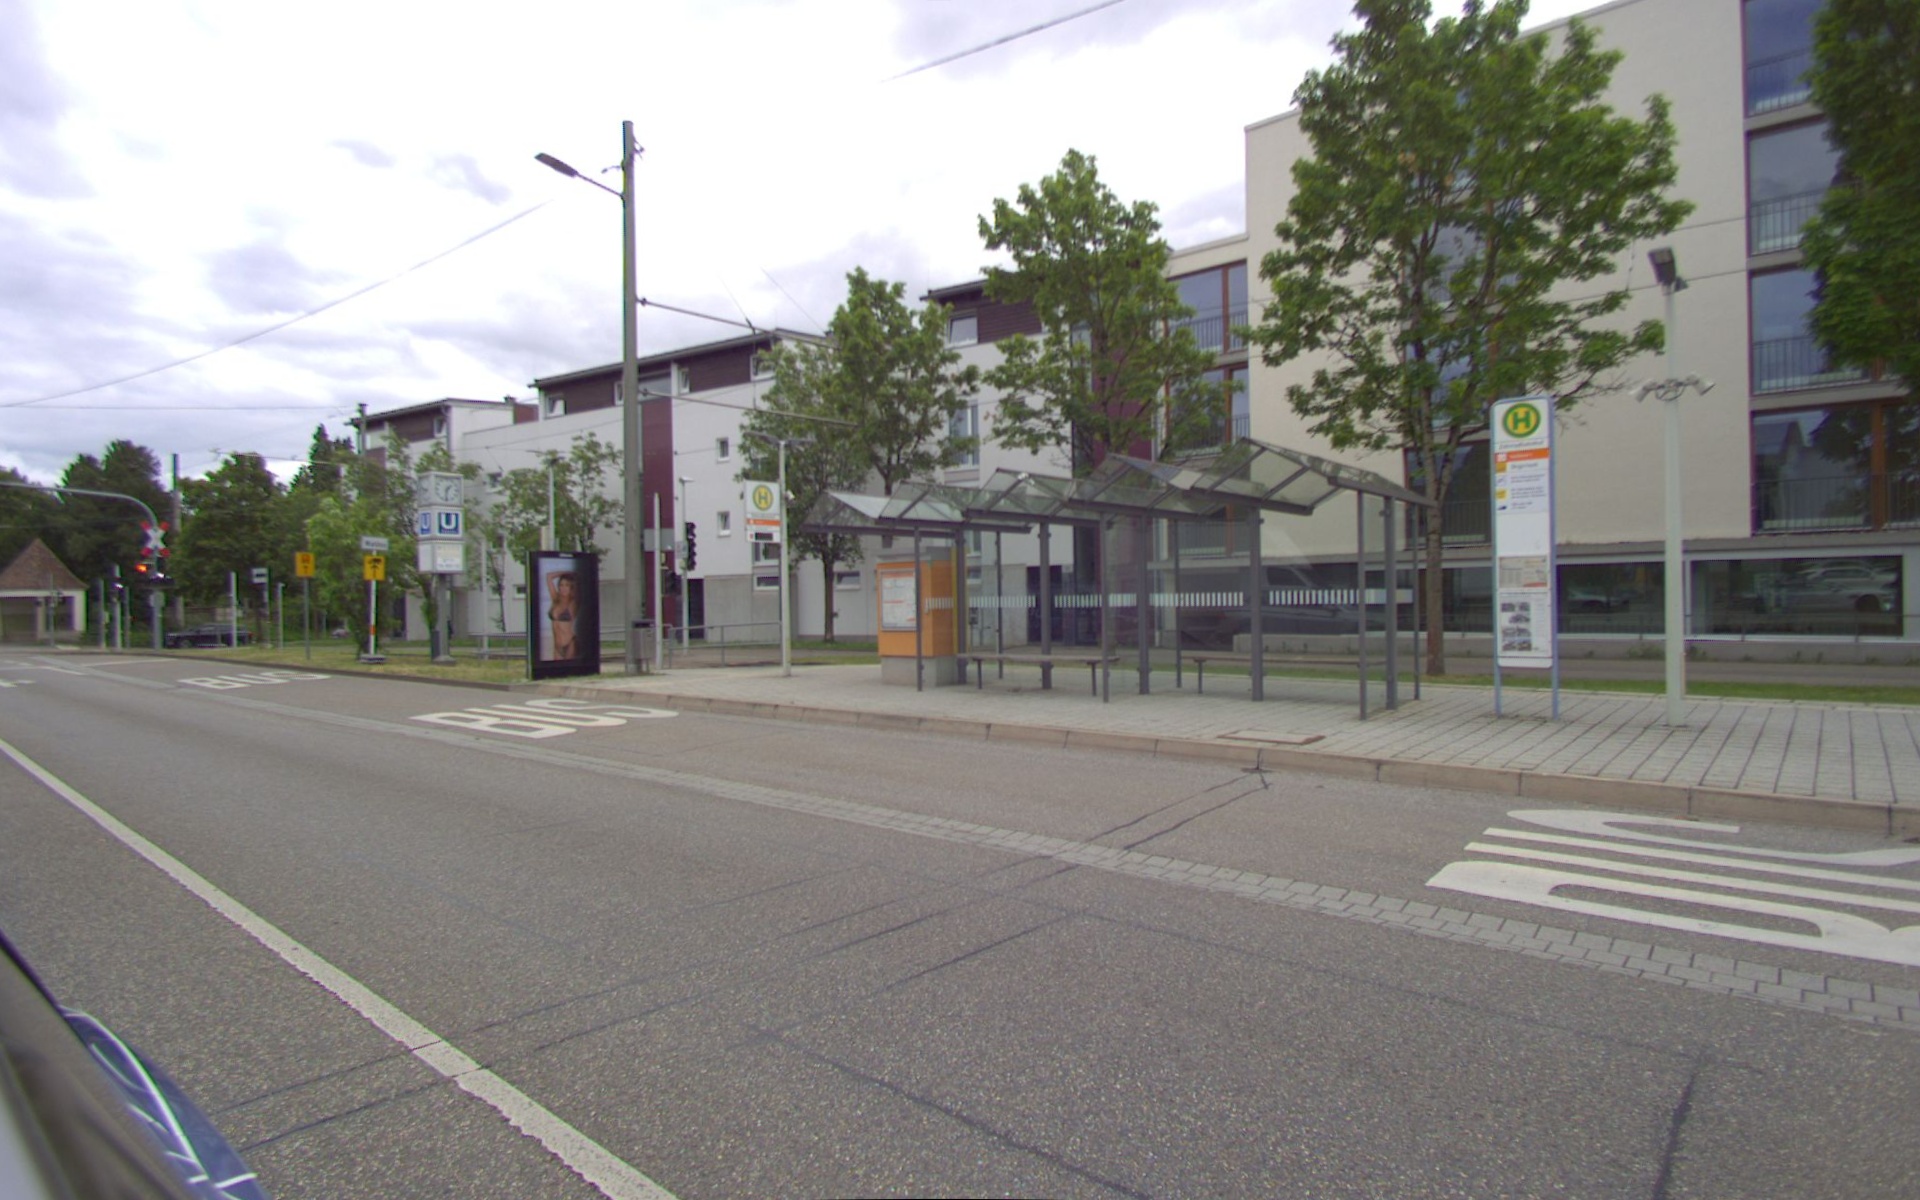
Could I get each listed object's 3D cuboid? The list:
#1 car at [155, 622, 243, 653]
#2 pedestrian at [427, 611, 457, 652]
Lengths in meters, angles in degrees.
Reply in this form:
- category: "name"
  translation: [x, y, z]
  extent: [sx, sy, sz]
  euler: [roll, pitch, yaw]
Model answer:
- category: "car"
  translation: [-46.494, 2.272, 61.879]
  extent: [1.925, 1.719, 3.950]
  euler: [-1, 0, 37]
- category: "pedestrian"
  translation: [-20.747, 1.256, 40.567]
  extent: [0.778, 1.607, 0.773]
  euler: [-1, 0, 32]
